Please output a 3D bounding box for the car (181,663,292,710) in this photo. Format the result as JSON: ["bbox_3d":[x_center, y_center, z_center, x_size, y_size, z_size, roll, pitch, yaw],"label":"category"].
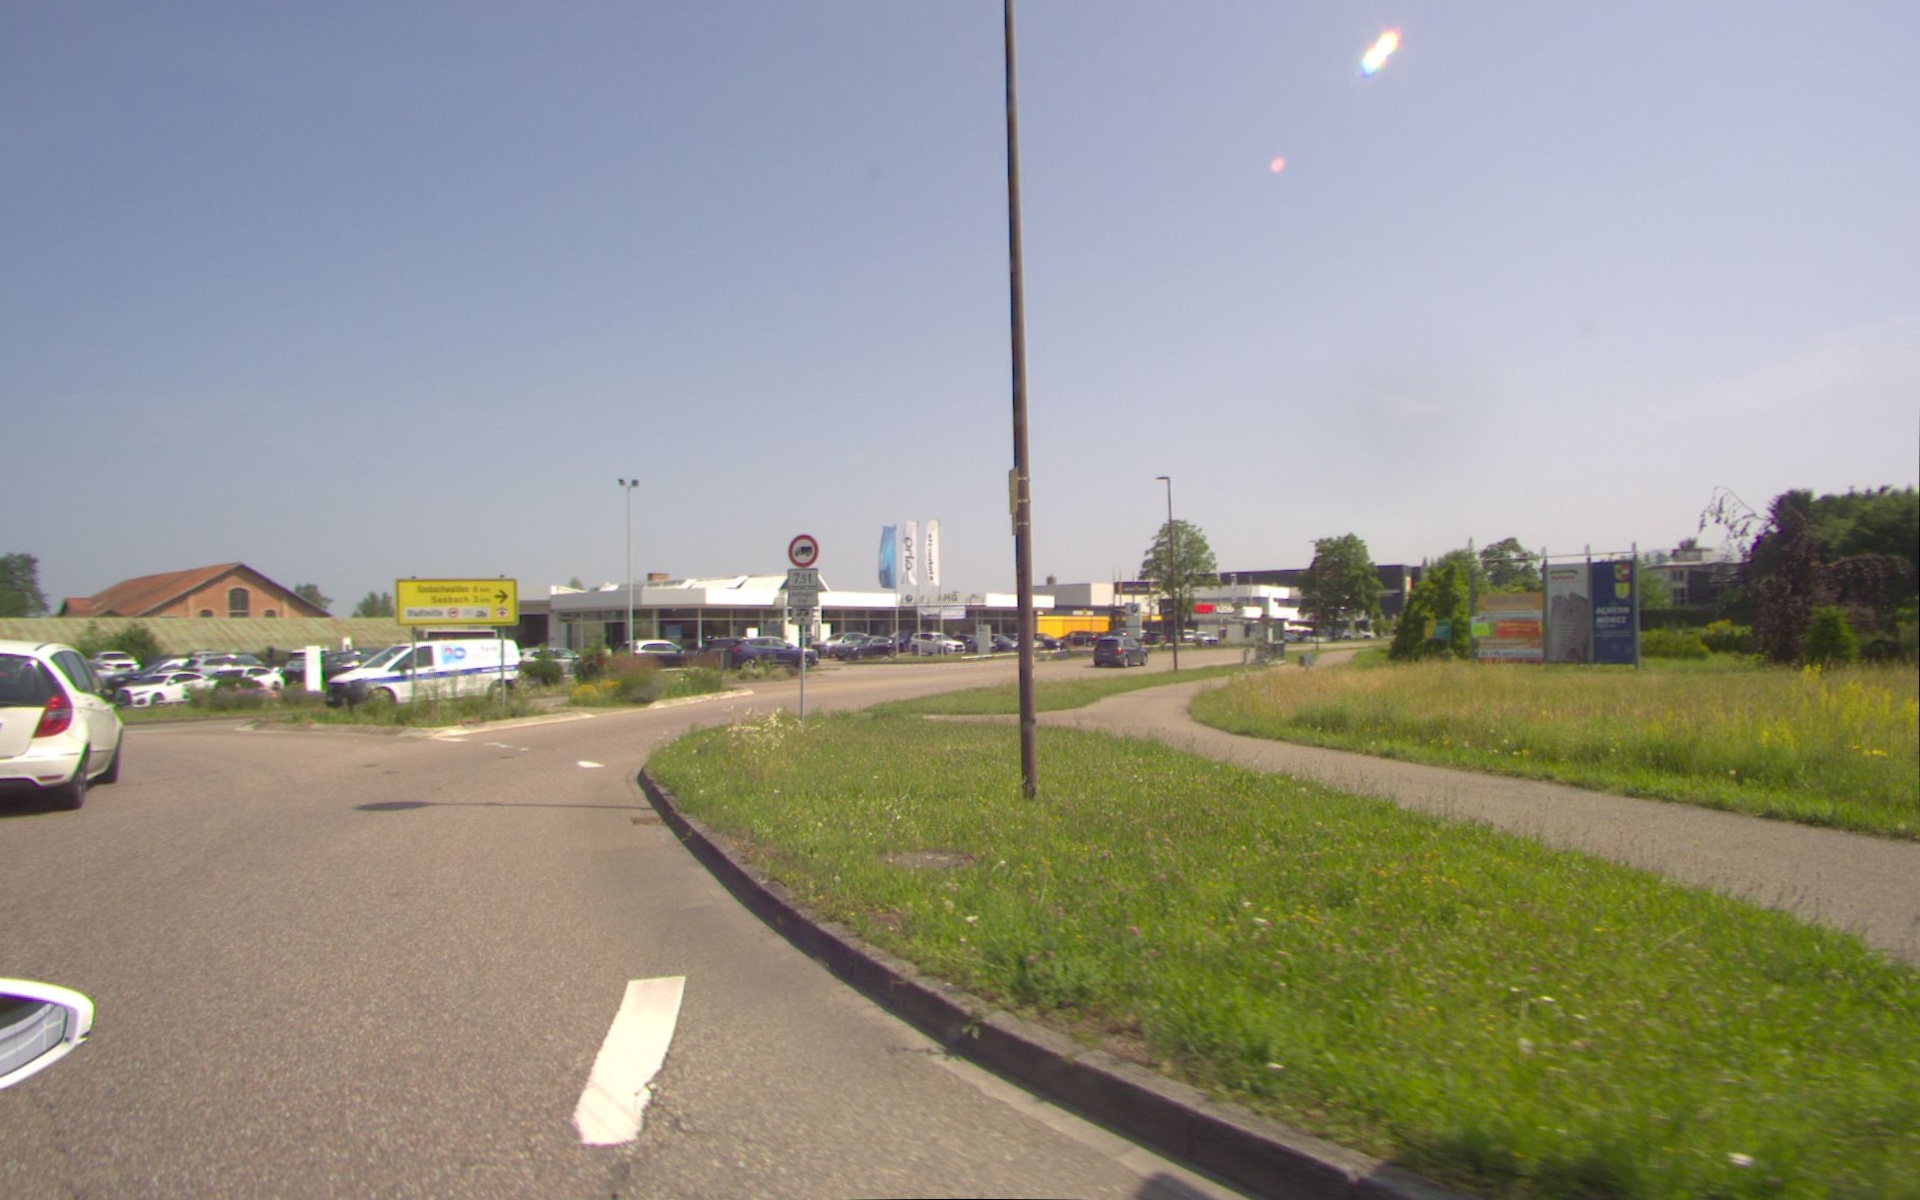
[{"bbox_3d":[-31.458,3.710,43.739,1.734,1.591,4.664,-2,0,-5],"label":"car"}]

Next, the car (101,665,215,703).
[{"bbox_3d":[-38.543,4.006,48.204,1.927,1.546,3.978,-3,-2,40],"label":"car"}]

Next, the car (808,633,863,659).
[{"bbox_3d":[-8.338,3.084,67.359,1.562,1.674,3.674,-4,-4,37],"label":"car"}]

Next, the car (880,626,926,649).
[{"bbox_3d":[-4.404,2.882,77.411,1.562,1.674,3.674,-4,-4,37],"label":"car"}]

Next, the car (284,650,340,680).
[{"bbox_3d":[-37.883,3.751,58.609,1.628,1.606,4.262,-1,-2,-17],"label":"car"}]

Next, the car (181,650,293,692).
[{"bbox_3d":[-35.274,3.427,48.953,1.923,1.773,3.985,-2,-1,34],"label":"car"}]

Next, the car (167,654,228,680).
[{"bbox_3d":[-51.237,4.520,67.246,4.250,1.616,2.181,-3,-2,36],"label":"car"}]

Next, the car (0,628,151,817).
[{"bbox_3d":[-9.542,1.108,10.064,1.763,1.623,3.870,2,-3,-33],"label":"car"}]

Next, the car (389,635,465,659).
[{"bbox_3d":[-38.368,3.365,72.098,1.926,1.541,4.436,-3,-2,38],"label":"car"}]

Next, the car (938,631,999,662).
[{"bbox_3d":[0.603,3.461,74.172,4.211,2.038,1.987,-5,-4,38],"label":"car"}]

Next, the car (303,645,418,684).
[{"bbox_3d":[-29.379,3.141,49.229,1.924,1.519,4.399,-4,-1,34],"label":"car"}]

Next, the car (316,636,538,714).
[{"bbox_3d":[-14.753,2.046,27.993,1.840,1.961,5.192,-4,-5,39],"label":"car"}]

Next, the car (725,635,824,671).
[{"bbox_3d":[-8.850,2.499,47.683,4.305,1.532,1.904,-1,-2,-24],"label":"car"}]

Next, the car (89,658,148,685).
[{"bbox_3d":[-53.599,4.568,63.755,4.250,1.616,1.910,-3,-2,36],"label":"car"}]

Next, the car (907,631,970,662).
[{"bbox_3d":[-1.564,3.358,71.625,4.211,2.038,1.987,-5,-4,38],"label":"car"}]

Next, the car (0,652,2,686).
[{"bbox_3d":[-52.732,3.682,51.730,1.814,1.769,4.443,-3,-2,34],"label":"car"}]

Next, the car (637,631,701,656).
[{"bbox_3d":[-20.717,3.096,71.345,1.887,1.606,4.011,-3,-2,39],"label":"car"}]

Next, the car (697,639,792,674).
[{"bbox_3d":[-10.636,2.743,49.410,4.305,1.532,1.904,-1,-2,-24],"label":"car"}]

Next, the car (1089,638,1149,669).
[{"bbox_3d":[8.482,2.816,53.221,1.748,1.503,4.022,-2,-2,30],"label":"car"}]

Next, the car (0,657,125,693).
[{"bbox_3d":[-44.656,3.702,49.821,1.923,1.519,4.443,-2,-2,34],"label":"car"}]

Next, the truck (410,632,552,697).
[{"bbox_3d":[-21.839,2.874,45.873,1.927,2.699,5.585,-2,-2,39],"label":"truck"}]

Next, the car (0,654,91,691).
[{"bbox_3d":[-47.083,3.668,50.614,1.923,1.655,4.443,-3,-2,34],"label":"car"}]

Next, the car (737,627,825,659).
[{"bbox_3d":[-9.631,2.289,53.807,4.305,1.532,1.904,-1,-2,-24],"label":"car"}]

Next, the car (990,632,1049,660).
[{"bbox_3d":[4.658,3.635,78.677,4.211,2.038,1.987,-5,-4,38],"label":"car"}]

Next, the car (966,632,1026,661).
[{"bbox_3d":[2.736,3.532,76.242,4.211,2.038,1.987,-5,-4,38],"label":"car"}]

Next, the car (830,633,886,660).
[{"bbox_3d":[-6.618,3.048,65.139,1.562,1.674,3.674,-4,-4,37],"label":"car"}]

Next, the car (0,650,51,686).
[{"bbox_3d":[-49.896,3.551,51.401,1.923,1.769,4.442,-3,-2,34],"label":"car"}]

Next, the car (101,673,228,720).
[{"bbox_3d":[-34.149,4.101,43.165,1.734,1.590,4.579,-3,-1,0],"label":"car"}]
